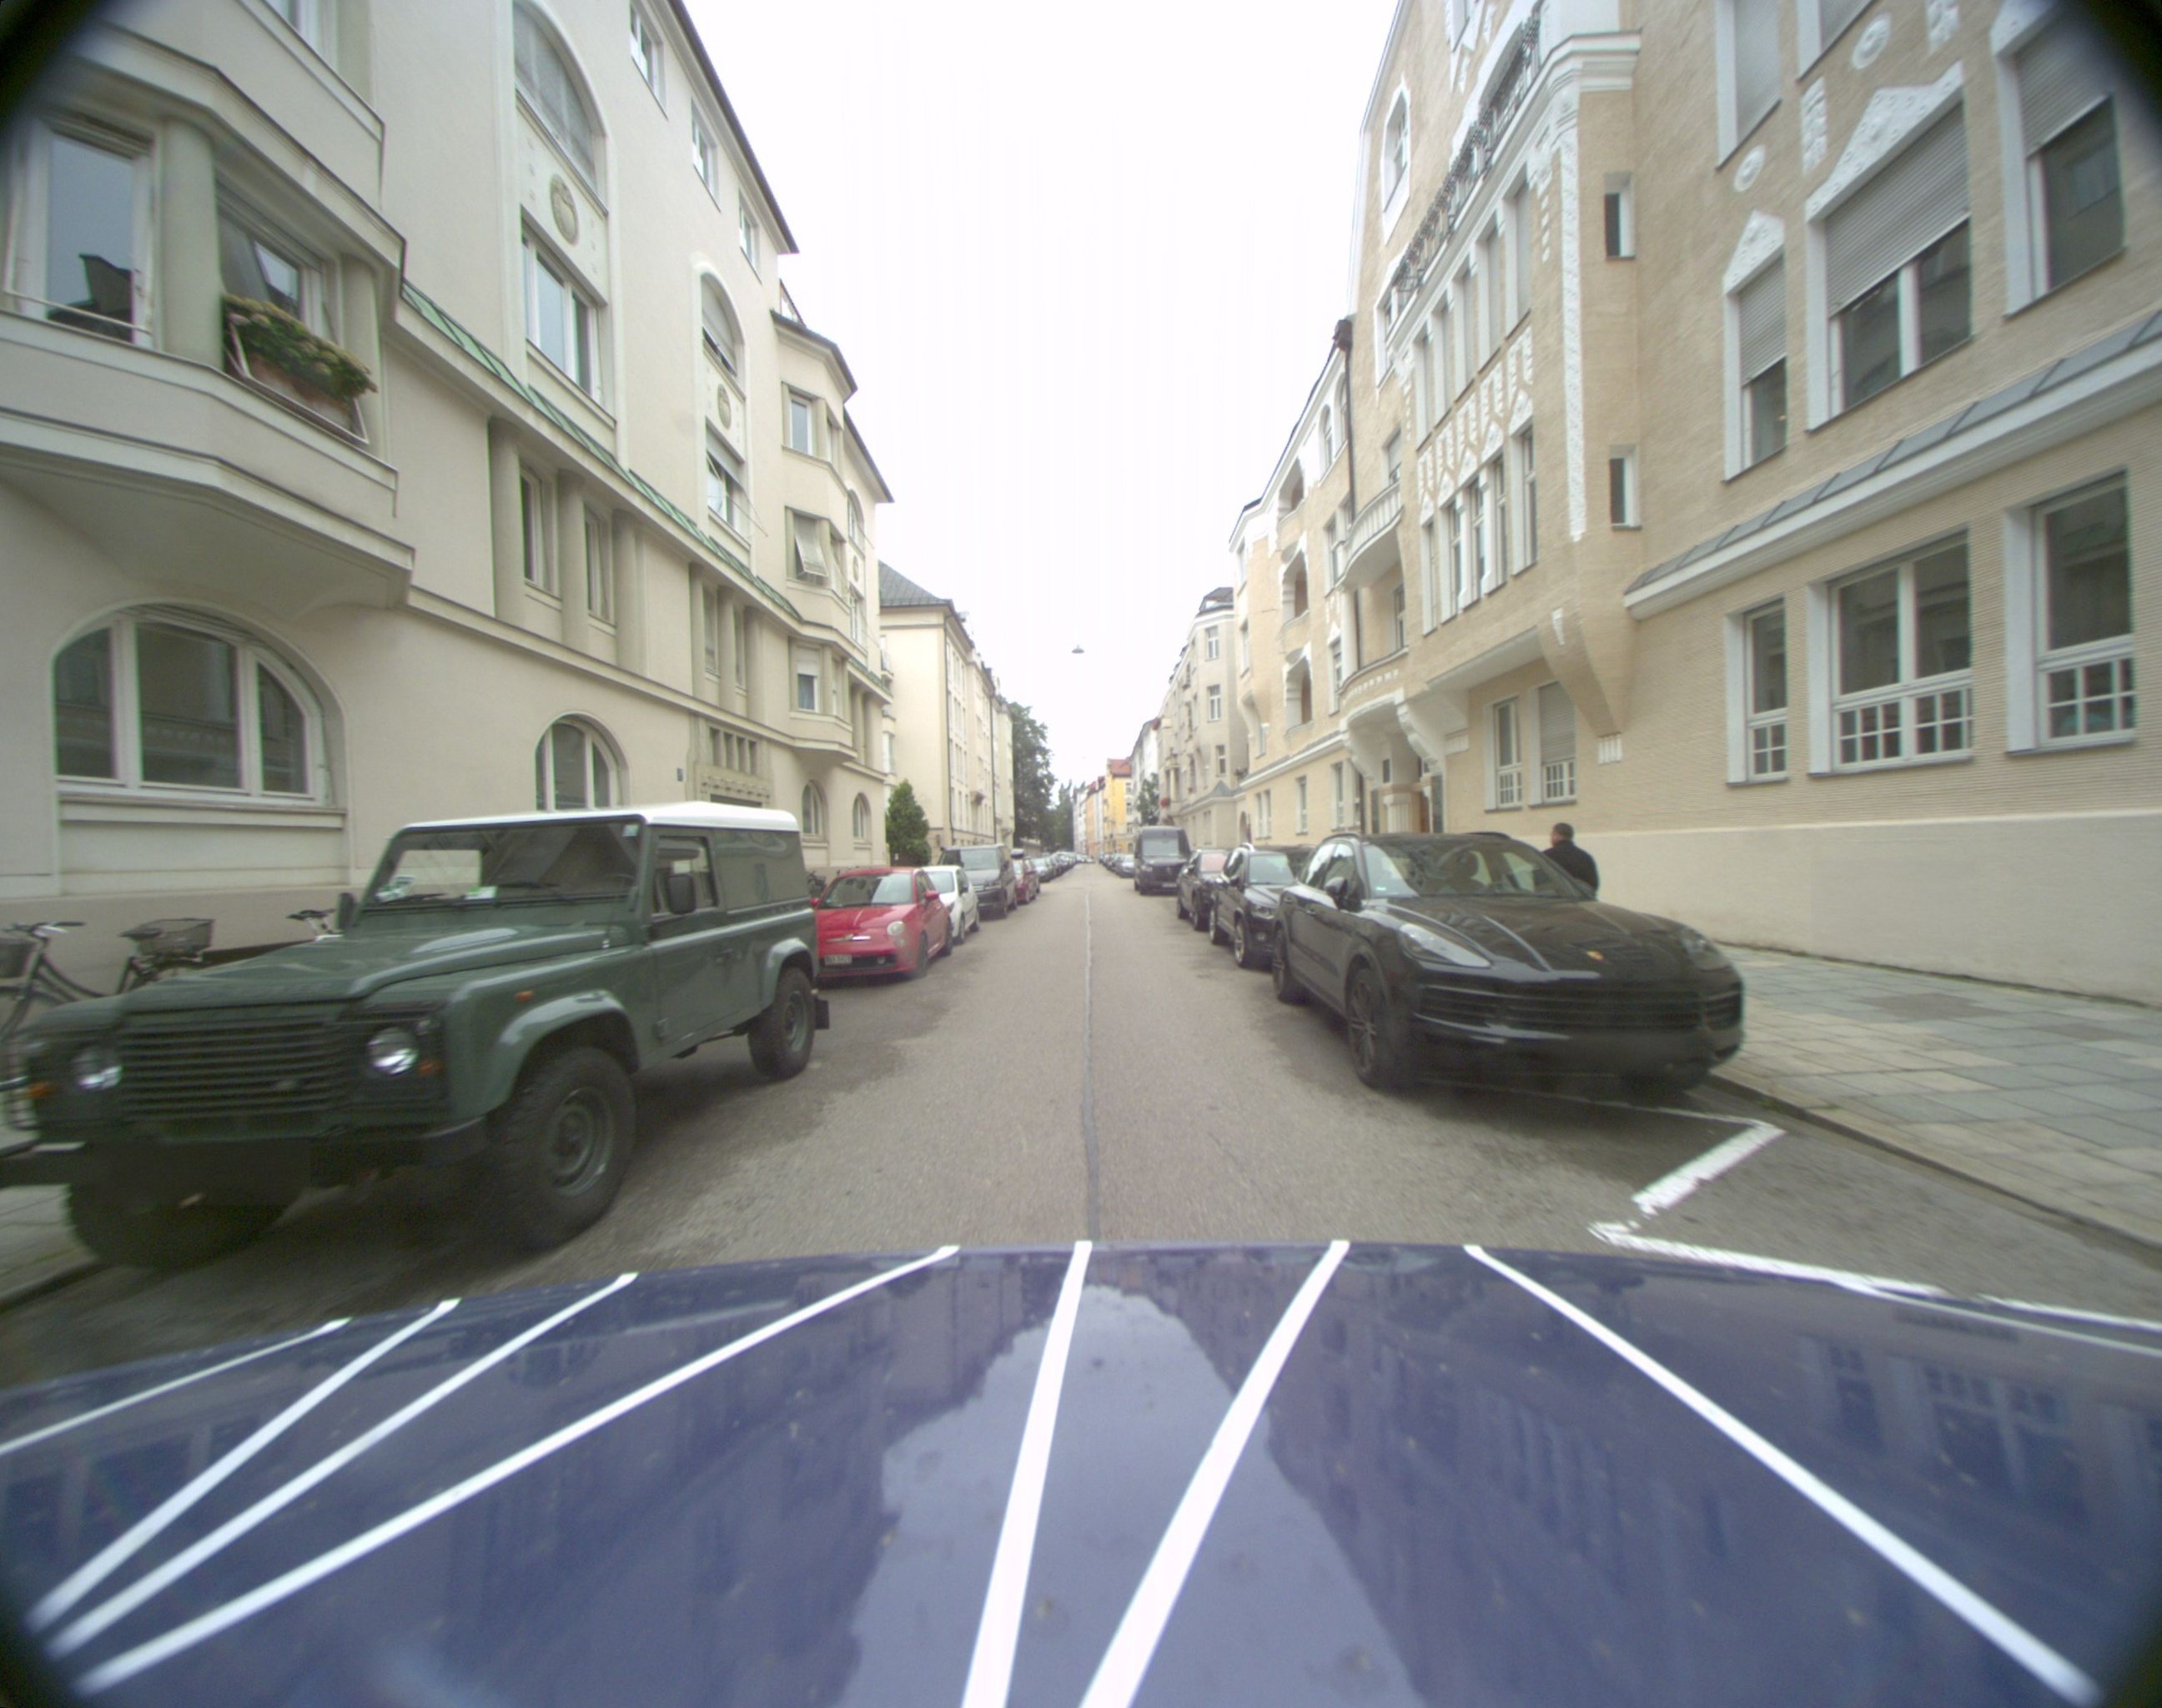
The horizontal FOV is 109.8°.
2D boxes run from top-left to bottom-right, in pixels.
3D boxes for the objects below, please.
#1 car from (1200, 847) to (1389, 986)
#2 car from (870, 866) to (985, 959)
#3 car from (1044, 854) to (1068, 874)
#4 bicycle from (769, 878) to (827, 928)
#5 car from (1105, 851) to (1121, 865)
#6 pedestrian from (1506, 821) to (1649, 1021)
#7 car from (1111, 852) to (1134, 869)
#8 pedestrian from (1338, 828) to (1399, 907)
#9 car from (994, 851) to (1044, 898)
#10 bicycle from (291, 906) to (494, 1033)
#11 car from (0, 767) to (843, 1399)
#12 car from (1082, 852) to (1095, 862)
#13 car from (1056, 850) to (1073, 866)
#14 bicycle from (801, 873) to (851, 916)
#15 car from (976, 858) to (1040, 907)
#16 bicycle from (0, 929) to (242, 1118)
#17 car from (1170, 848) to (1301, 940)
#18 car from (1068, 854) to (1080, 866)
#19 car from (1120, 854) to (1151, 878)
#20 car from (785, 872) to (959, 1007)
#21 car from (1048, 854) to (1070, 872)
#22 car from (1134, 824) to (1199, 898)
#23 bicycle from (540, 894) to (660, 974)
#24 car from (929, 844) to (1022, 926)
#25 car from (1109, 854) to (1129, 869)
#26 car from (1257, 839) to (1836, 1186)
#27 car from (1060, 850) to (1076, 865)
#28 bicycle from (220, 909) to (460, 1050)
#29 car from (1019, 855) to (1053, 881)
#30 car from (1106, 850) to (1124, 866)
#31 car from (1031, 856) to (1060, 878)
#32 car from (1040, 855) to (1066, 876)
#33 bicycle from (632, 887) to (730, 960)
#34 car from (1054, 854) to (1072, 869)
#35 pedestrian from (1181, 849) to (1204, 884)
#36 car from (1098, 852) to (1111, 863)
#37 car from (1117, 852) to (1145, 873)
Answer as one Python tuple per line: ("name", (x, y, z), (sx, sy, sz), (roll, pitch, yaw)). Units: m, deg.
("car", (2.930, 0.751, 11.327), (1.735, 1.633, 4.102), (-2, 0, 2))
("car", (-2.902, 1.051, 15.047), (1.497, 1.463, 3.675), (-3, 0, -1))
("car", (-1.943, 0.761, 59.902), (1.683, 1.375, 3.645), (-2, 0, 1))
("bicycle", (-7.209, 1.224, 19.433), (0.719, 1.111, 1.967), (1, 1, 1))
("car", (3.954, 0.493, 93.646), (1.683, 1.628, 3.704), (-2, 0, -1))
("pedestrian", (4.707, 0.606, 7.250), (0.837, 1.779, 0.741), (-2, 1, 1))
("car", (3.563, 0.531, 65.203), (1.683, 1.390, 3.704), (-2, 0, -1))
("pedestrian", (6.557, 0.307, 17.399), (0.995, 1.719, 0.939), (-2, 1, 0))
("car", (-2.516, 0.806, 31.531), (1.683, 1.767, 3.456), (-2, 1, 1))
("bicycle", (-7.320, 1.183, 8.171), (0.316, 1.111, 1.562), (-2, 1, 28))
("car", (-3.031, 0.751, 4.520), (1.800, 2.027, 4.071), (-2, 1, 1))
("car", (1.348, 0.571, 140.205), (1.999, 1.788, 3.998), (-2, 1, -5))
("car", (-1.843, 0.452, 85.608), (1.683, 1.671, 3.645), (-2, 1, 1))
("bicycle", (-7.205, 1.126, 21.556), (0.719, 1.111, 1.967), (0, 1, 1))
("car", (-2.421, 0.913, 25.957), (1.731, 1.458, 3.737), (-2, 0, 1))
("bicycle", (-7.536, 1.216, 5.504), (0.643, 1.111, 1.967), (-2, 1, 1))
("car", (3.109, 0.723, 16.237), (1.877, 1.639, 4.460), (-2, 0, 1))
("car", (-1.041, 0.927, 115.247), (1.683, 1.671, 3.645), (-2, 1, 1))
("car", (3.476, 0.726, 48.884), (1.683, 1.390, 3.705), (-2, 0, 1))
("car", (-2.822, 1.076, 10.973), (1.497, 1.463, 3.503), (-3, 0, -1))
("car", (-1.950, 0.790, 68.077), (1.683, 1.434, 3.645), (-2, 0, 1))
("car", (3.235, 0.239, 29.684), (2.104, 2.606, 5.678), (0, 1, 2))
("bicycle", (-7.417, 1.194, 11.831), (0.643, 1.041, 1.837), (0, 1, 1))
("car", (-2.769, 0.757, 20.974), (1.880, 1.925, 4.662), (-3, 0, -1))
("car", (3.701, 0.724, 74.646), (1.683, 1.390, 3.704), (-2, 0, -1))
("car", (2.776, 0.767, 5.993), (1.955, 1.649, 4.618), (-2, 0, 4))
("car", (-1.561, 0.398, 91.782), (1.683, 1.671, 3.645), (-2, 1, 1))
("bicycle", (-7.226, 1.166, 7.510), (0.430, 1.111, 1.602), (-2, 1, 28))
("car", (-2.670, 0.829, 45.802), (1.683, 1.434, 3.645), (-2, 0, 1))
("car", (3.712, 0.382, 82.866), (1.683, 1.628, 3.704), (-2, 0, -1))
("car", (-2.359, 0.838, 51.093), (1.683, 1.375, 3.645), (-2, 0, 1))
("car", (-2.037, 0.794, 55.616), (1.683, 1.375, 3.645), (-2, 0, 1))
("bicycle", (-7.164, 1.206, 13.729), (0.643, 1.111, 1.967), (-2, 1, 1))
("car", (-1.818, 0.717, 77.907), (1.683, 1.434, 3.645), (-2, 0, 1))
("pedestrian", (4.982, 0.531, 33.981), (0.715, 1.514, 1.015), (-2, 1, -5))
("car", (4.335, 0.650, 143.114), (1.999, 2.002, 3.998), (-2, 1, -3))
("car", (3.549, 0.603, 54.918), (1.683, 1.390, 3.704), (-2, 0, -1))
